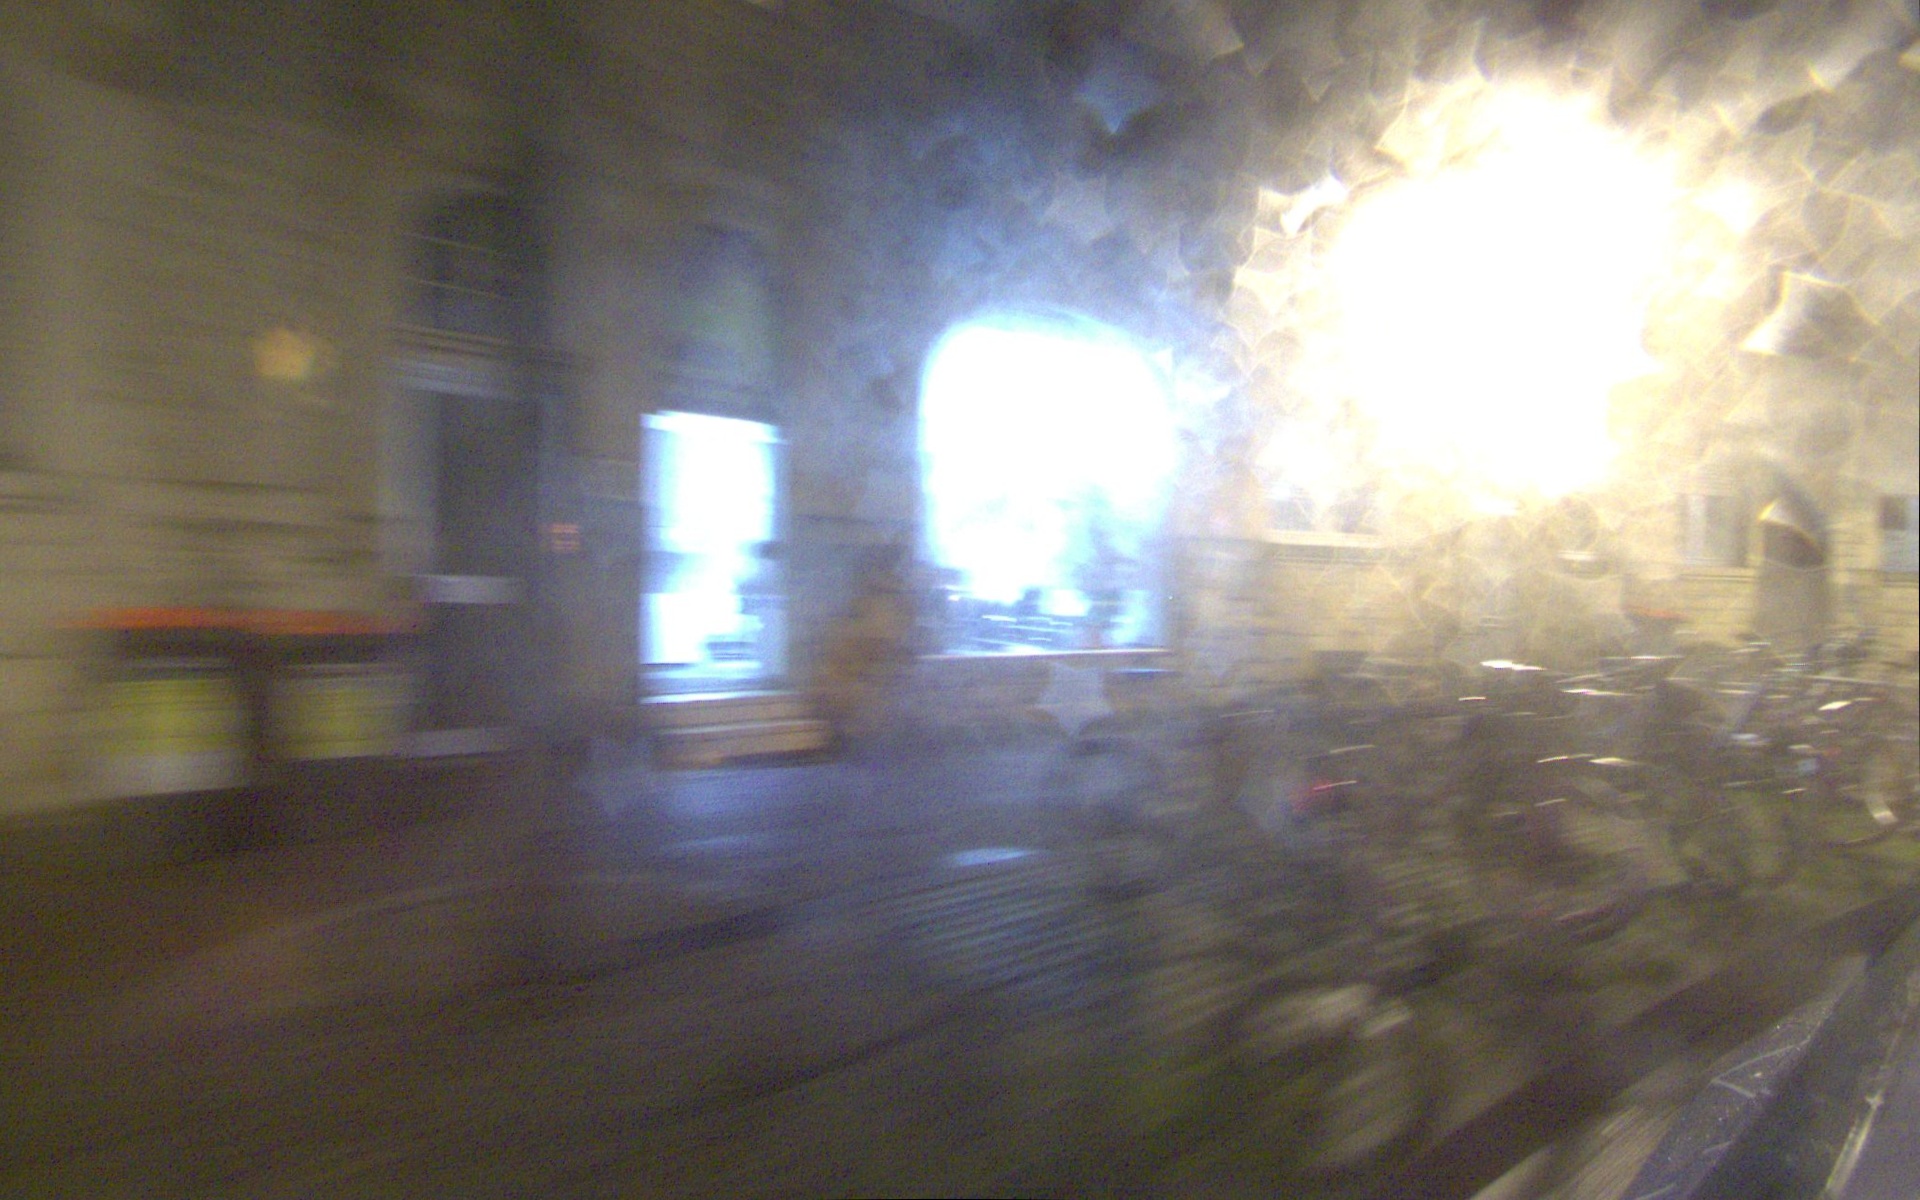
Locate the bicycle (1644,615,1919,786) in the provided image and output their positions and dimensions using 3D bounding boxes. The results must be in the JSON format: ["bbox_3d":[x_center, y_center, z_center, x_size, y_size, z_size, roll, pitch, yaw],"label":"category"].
[{"bbox_3d":[6.557,0.715,7.940,0.707,1.100,1.827,0,2,-32],"label":"bicycle"}]

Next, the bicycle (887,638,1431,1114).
[{"bbox_3d":[0.502,0.713,3.474,0.630,1.019,1.976,0,2,-33],"label":"bicycle"}]

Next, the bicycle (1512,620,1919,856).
[{"bbox_3d":[4.495,0.718,6.104,0.630,1.078,1.976,0,2,-33],"label":"bicycle"}]

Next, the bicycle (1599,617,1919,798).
[{"bbox_3d":[5.793,0.707,7.249,1.968,1.066,0.632,2,2,43],"label":"bicycle"}]

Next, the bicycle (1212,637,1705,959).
[{"bbox_3d":[2.130,0.754,4.656,0.630,1.019,1.976,0,2,-33],"label":"bicycle"}]

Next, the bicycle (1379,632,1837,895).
[{"bbox_3d":[3.330,0.748,5.438,0.630,1.019,1.976,0,2,-33],"label":"bicycle"}]

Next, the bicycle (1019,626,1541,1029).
[{"bbox_3d":[1.071,0.685,3.930,0.630,1.047,1.976,0,2,-33],"label":"bicycle"}]

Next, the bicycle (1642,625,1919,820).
[{"bbox_3d":[5.693,0.740,6.881,0.629,1.019,1.977,1,2,-5],"label":"bicycle"}]
